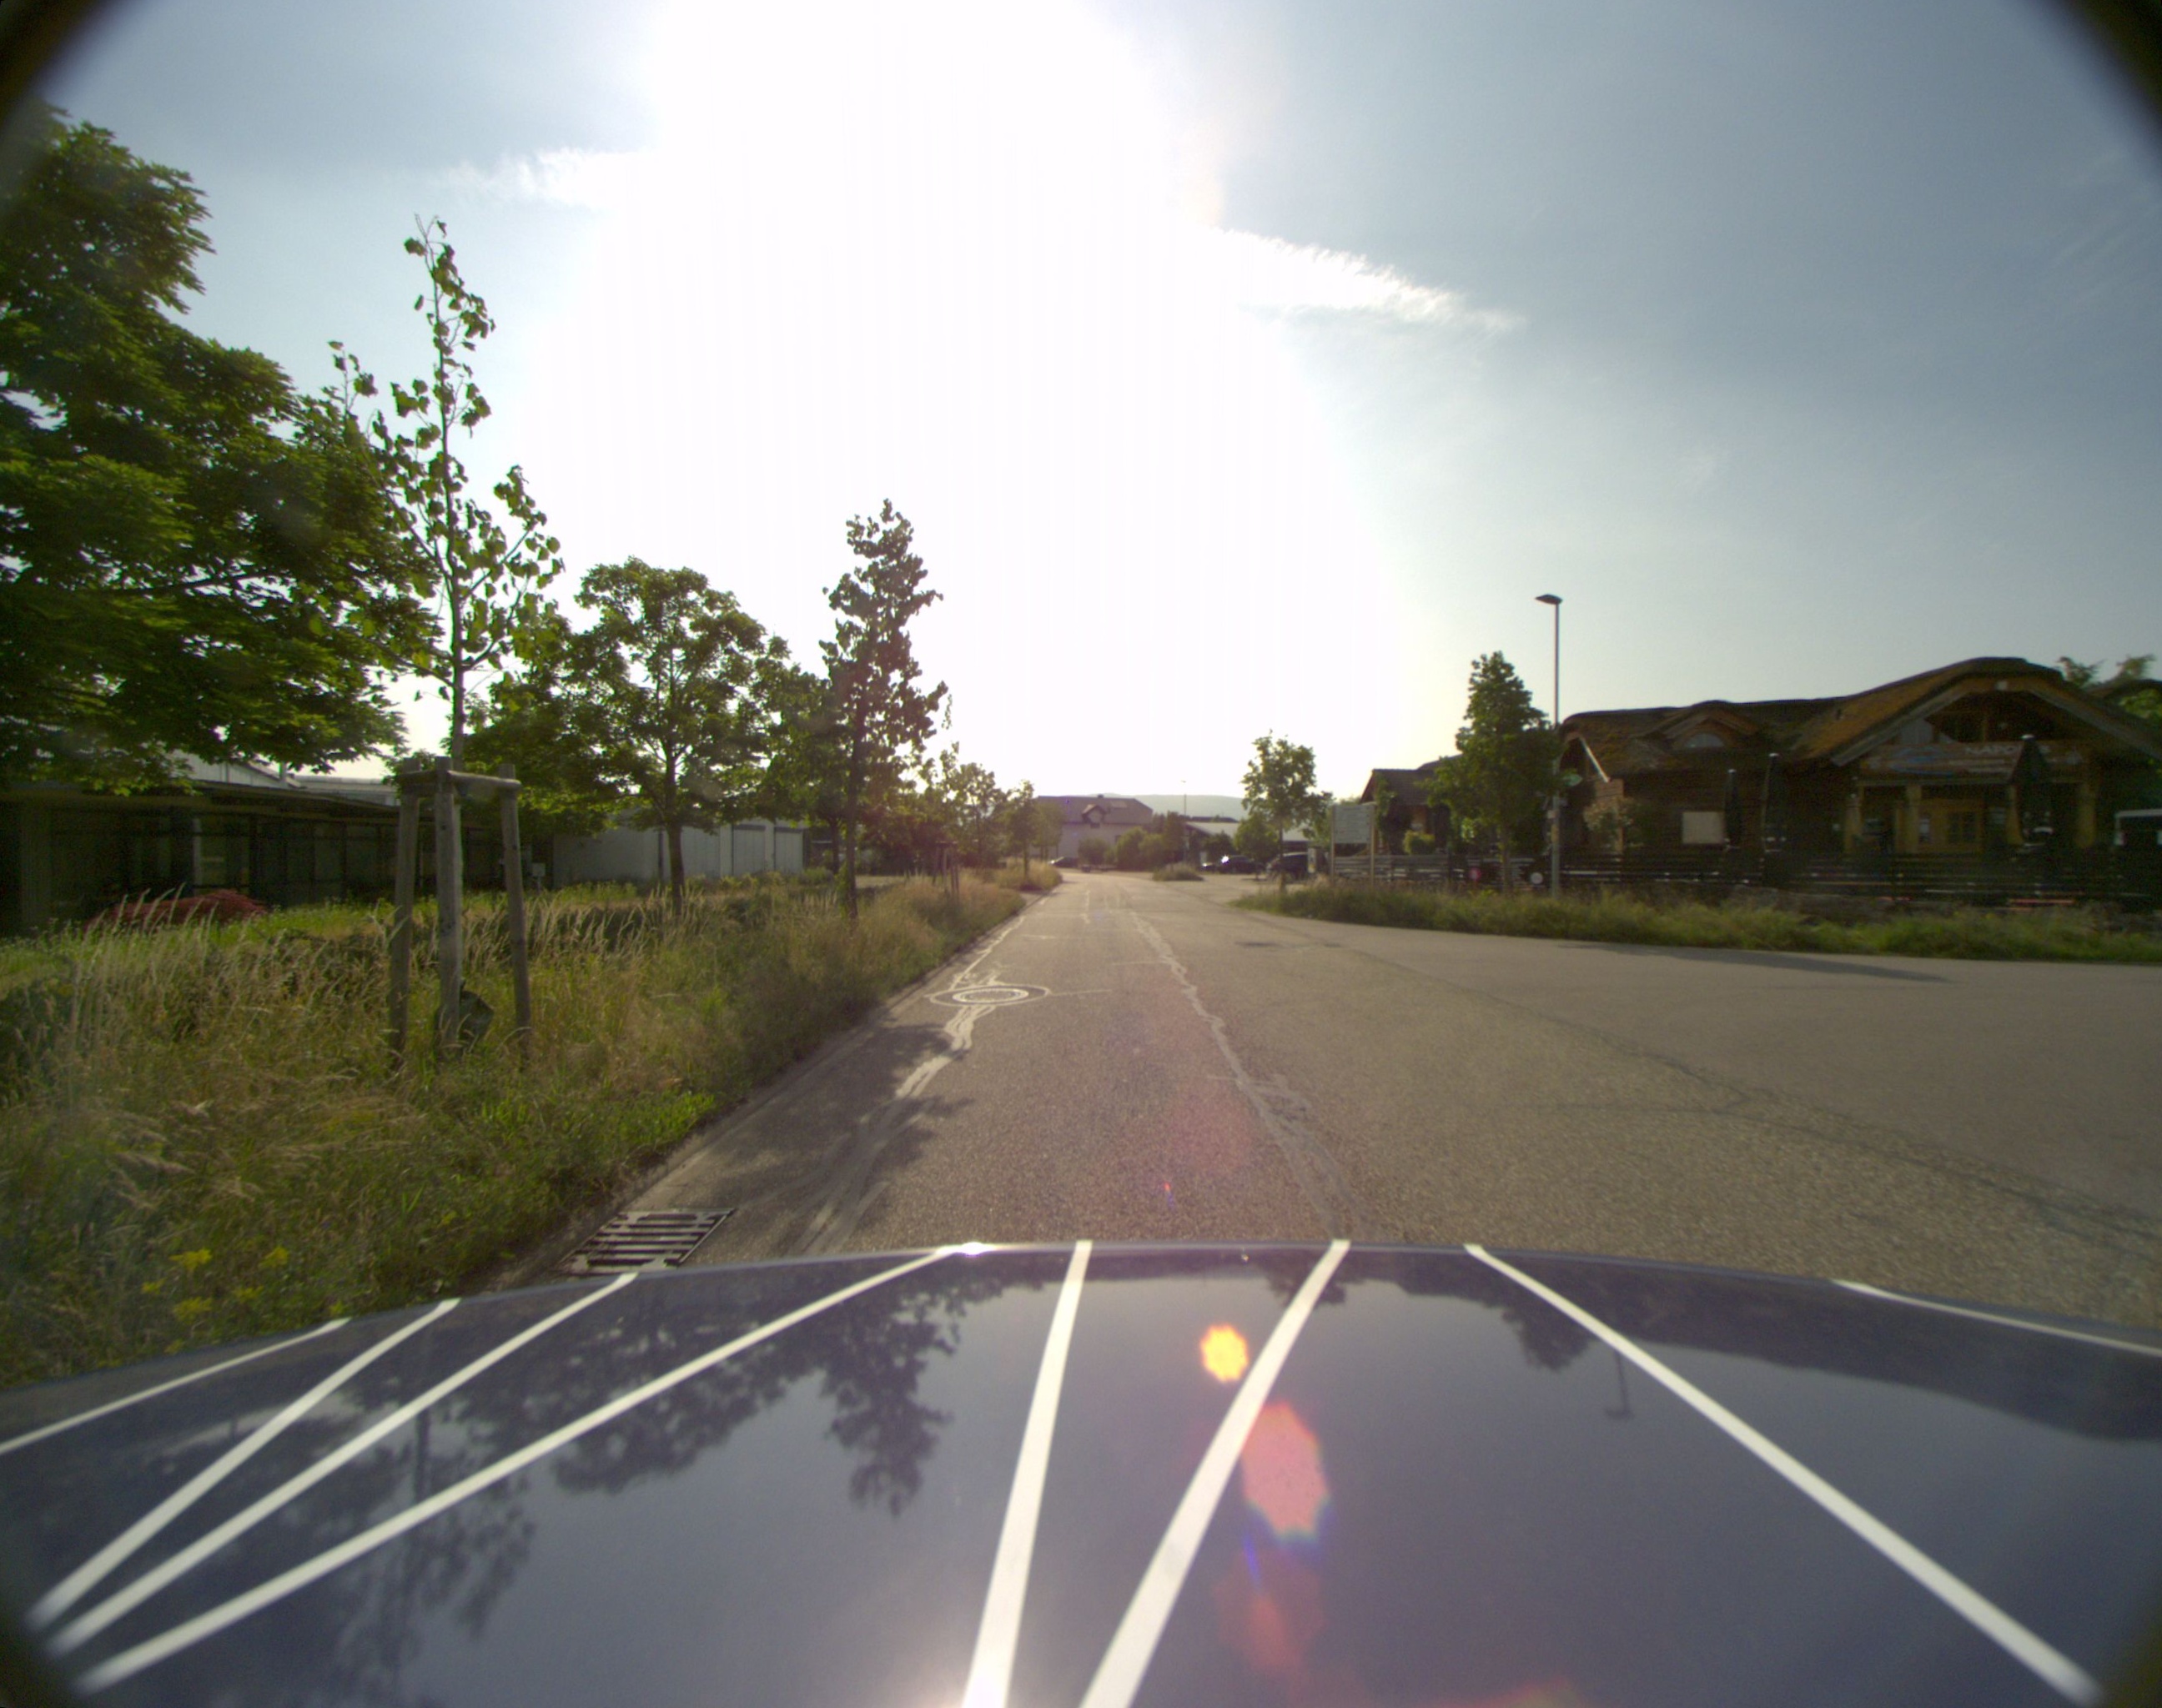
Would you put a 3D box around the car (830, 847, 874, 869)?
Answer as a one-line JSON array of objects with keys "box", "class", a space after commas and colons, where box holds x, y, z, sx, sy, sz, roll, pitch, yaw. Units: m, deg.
[{"box": [-18.988, 0.283, 63.204, 1.598, 1.672, 3.761, -2, 1, 16], "class": "car"}]

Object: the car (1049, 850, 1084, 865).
[{"box": [-1.861, 0.439, 96.390, 4.005, 1.761, 1.996, -1, 0, -23], "class": "car"}]

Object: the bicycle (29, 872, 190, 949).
[{"box": [-20.971, 1.159, 16.498, 0.808, 1.461, 2.277, -3, 1, -12], "class": "bicycle"}]

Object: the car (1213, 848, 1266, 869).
[{"box": [13.466, 0.371, 64.549, 4.004, 1.783, 1.996, -1, 0, -20], "class": "car"}]

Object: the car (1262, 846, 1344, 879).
[{"box": [12.157, 0.461, 41.801, 3.996, 1.718, 2.000, 0, 0, 2], "class": "car"}]

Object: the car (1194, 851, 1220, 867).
[{"box": [12.328, 0.460, 74.375, 1.615, 1.472, 3.549, -1, 0, -6], "class": "car"}]
